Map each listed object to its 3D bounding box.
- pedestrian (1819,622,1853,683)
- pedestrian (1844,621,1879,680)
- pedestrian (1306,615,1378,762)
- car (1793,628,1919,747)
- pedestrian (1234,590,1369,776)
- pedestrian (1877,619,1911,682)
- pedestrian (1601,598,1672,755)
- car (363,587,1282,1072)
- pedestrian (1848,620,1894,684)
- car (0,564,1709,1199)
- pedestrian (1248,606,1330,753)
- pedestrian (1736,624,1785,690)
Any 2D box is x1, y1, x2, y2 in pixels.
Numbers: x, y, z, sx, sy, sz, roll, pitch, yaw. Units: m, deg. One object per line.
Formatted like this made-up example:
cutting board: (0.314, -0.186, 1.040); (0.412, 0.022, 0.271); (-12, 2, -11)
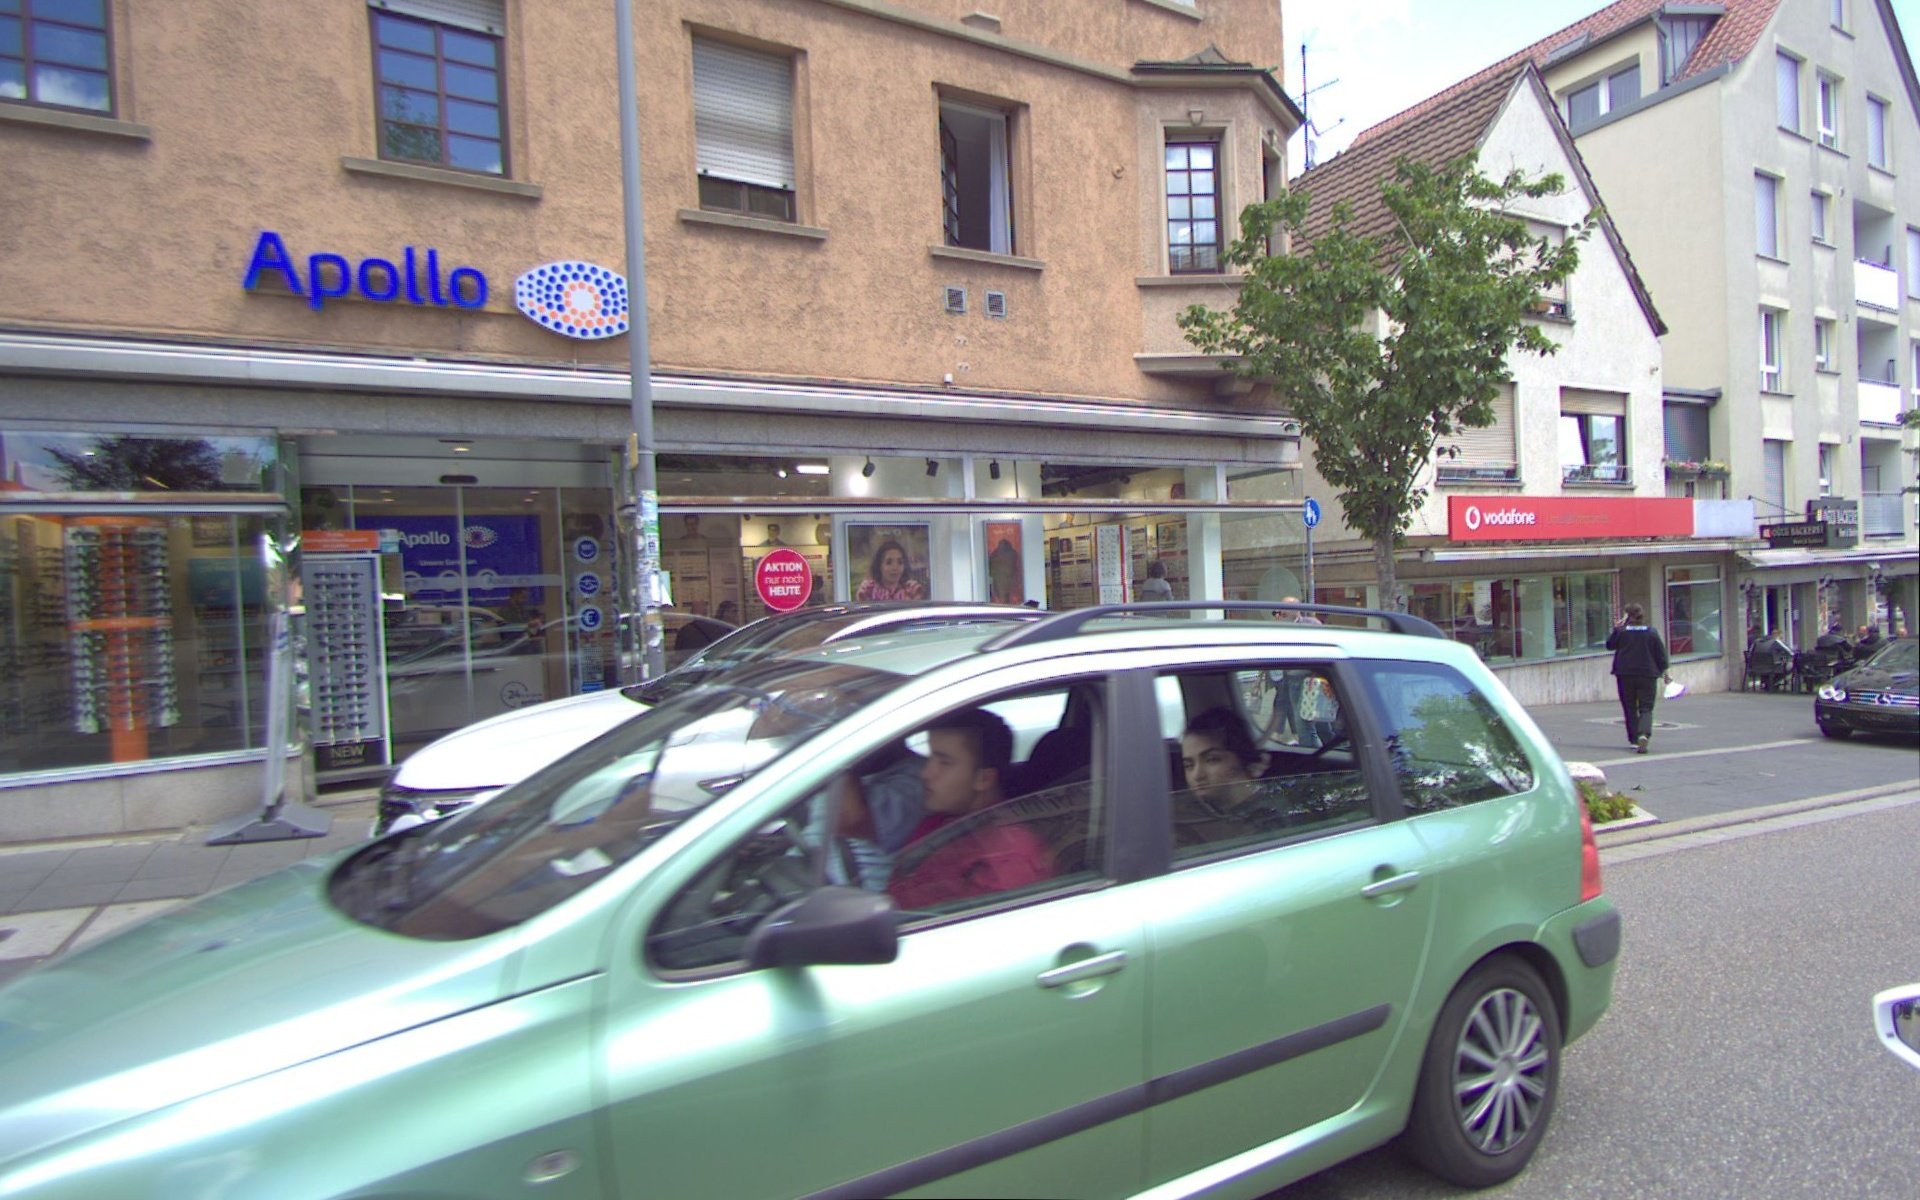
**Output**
pedestrian: (18.665, 1.111, 21.402); (0.494, 1.266, 0.393); (-1, 1, -29)
pedestrian: (19.890, 1.100, 22.163); (0.560, 1.266, 0.425); (-1, 1, -29)
pedestrian: (4.039, 0.913, 10.631); (0.522, 1.497, 0.493); (1, -1, -31)
car: (13.268, 1.096, 13.543); (4.389, 1.410, 1.650); (1, -1, -29)
pedestrian: (3.304, 0.767, 9.746); (0.896, 1.688, 0.866); (1, -1, -31)
pedestrian: (20.044, 1.083, 21.558); (0.448, 1.317, 0.419); (-1, 1, -29)
pedestrian: (8.044, 0.872, 11.938); (0.652, 1.784, 0.775); (0, -1, 37)
car: (-0.515, 0.797, 5.202); (4.405, 1.594, 1.716); (1, -1, -32)
pedestrian: (18.896, 1.067, 20.835); (0.591, 1.284, 0.547); (0, 0, -29)
car: (0.125, 0.774, 2.815); (4.104, 1.520, 1.674); (1, -2, -30)
pedestrian: (3.727, 0.875, 11.399); (0.635, 1.603, 0.610); (1, -1, -31)
pedestrian: (15.942, 1.124, 20.002); (0.591, 1.263, 0.593); (0, 0, -29)
